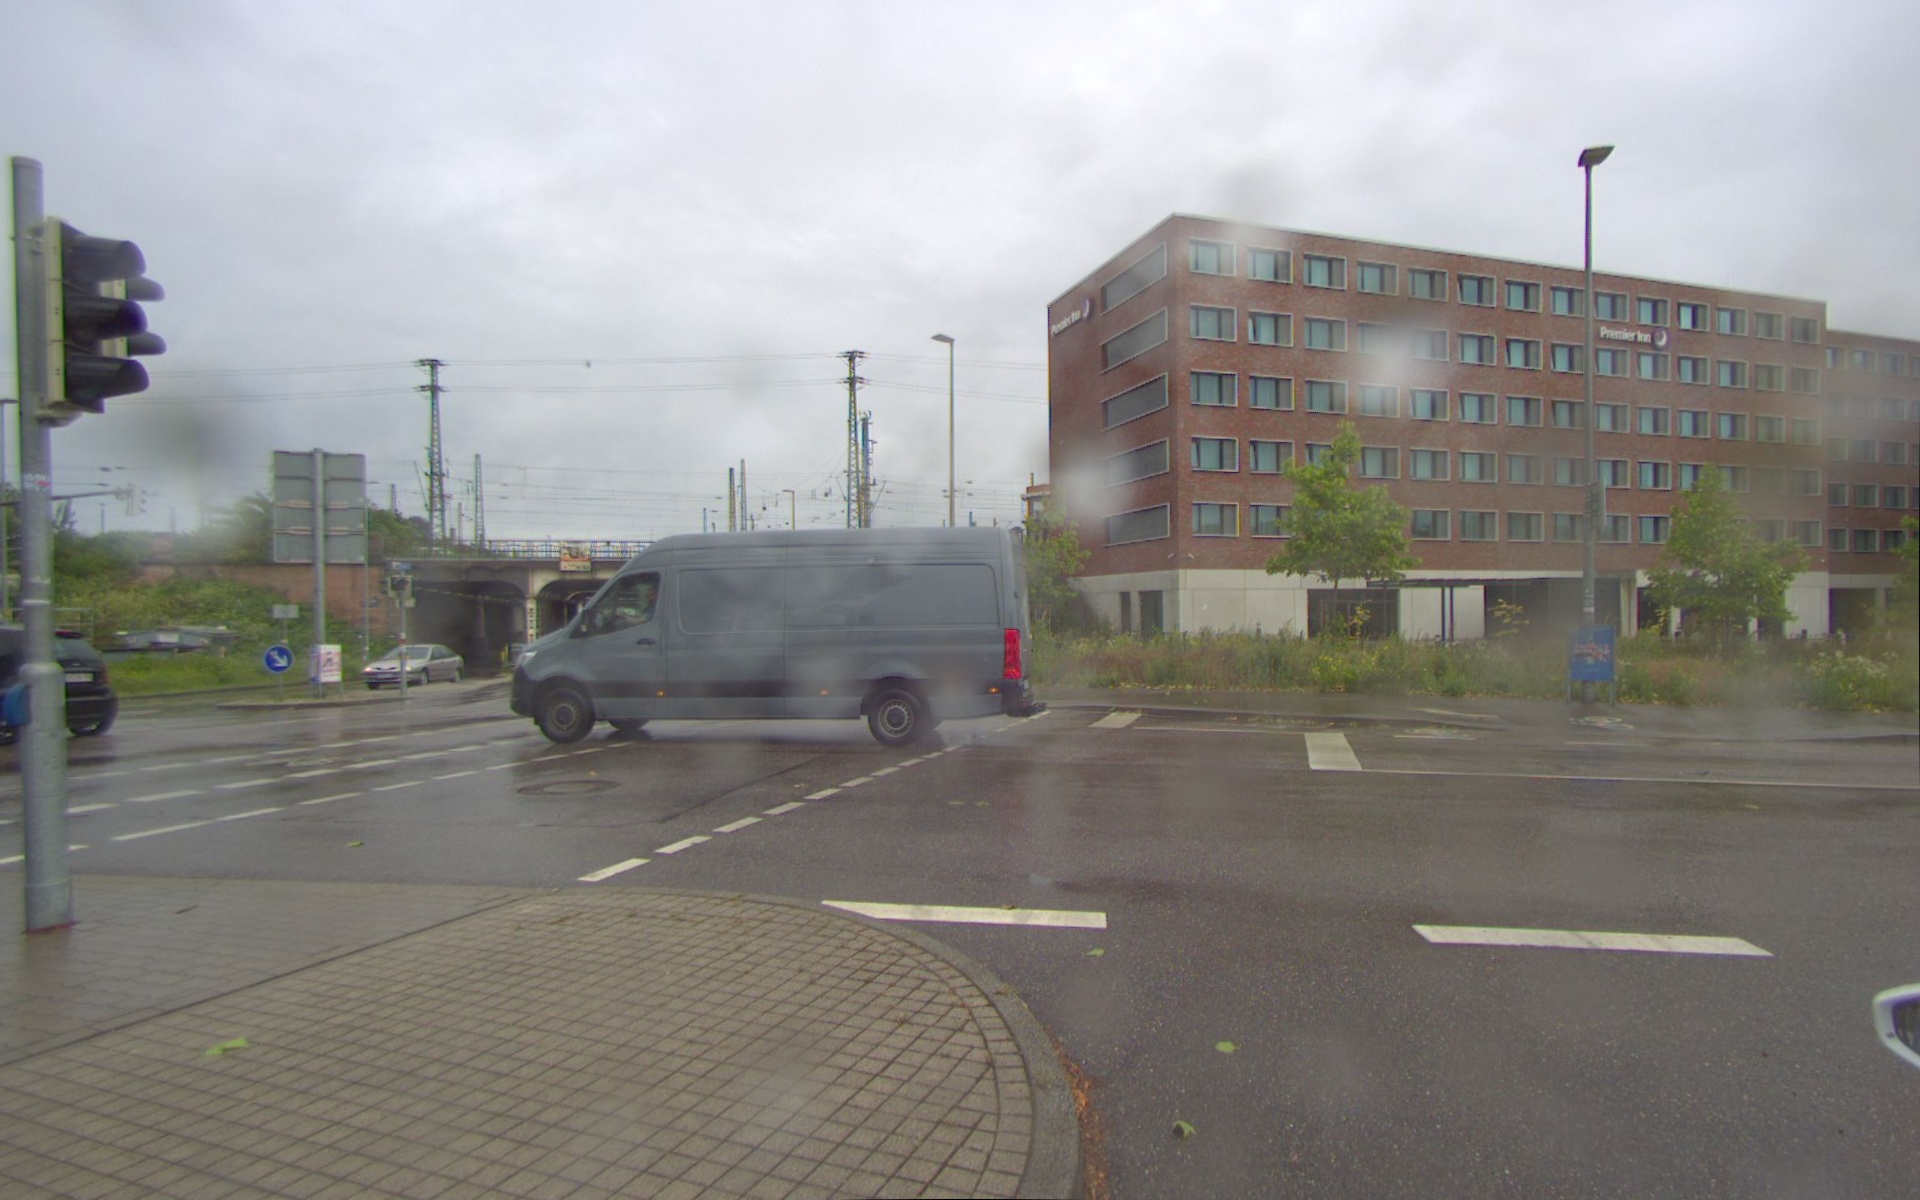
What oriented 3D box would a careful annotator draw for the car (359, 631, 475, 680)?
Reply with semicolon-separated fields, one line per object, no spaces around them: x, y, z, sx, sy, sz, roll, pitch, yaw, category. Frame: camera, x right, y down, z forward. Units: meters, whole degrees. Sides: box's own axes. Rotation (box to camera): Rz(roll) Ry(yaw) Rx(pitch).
-18.090;1.821;33.735;1.699;1.505;4.429;1;-2;-4;car

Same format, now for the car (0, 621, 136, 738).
-13.584;1.082;13.553;3.463;1.471;1.649;-2;-1;-4;car

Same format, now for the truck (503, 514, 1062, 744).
-2.141;0.339;13.082;6.836;2.654;2.093;0;-1;7;truck
